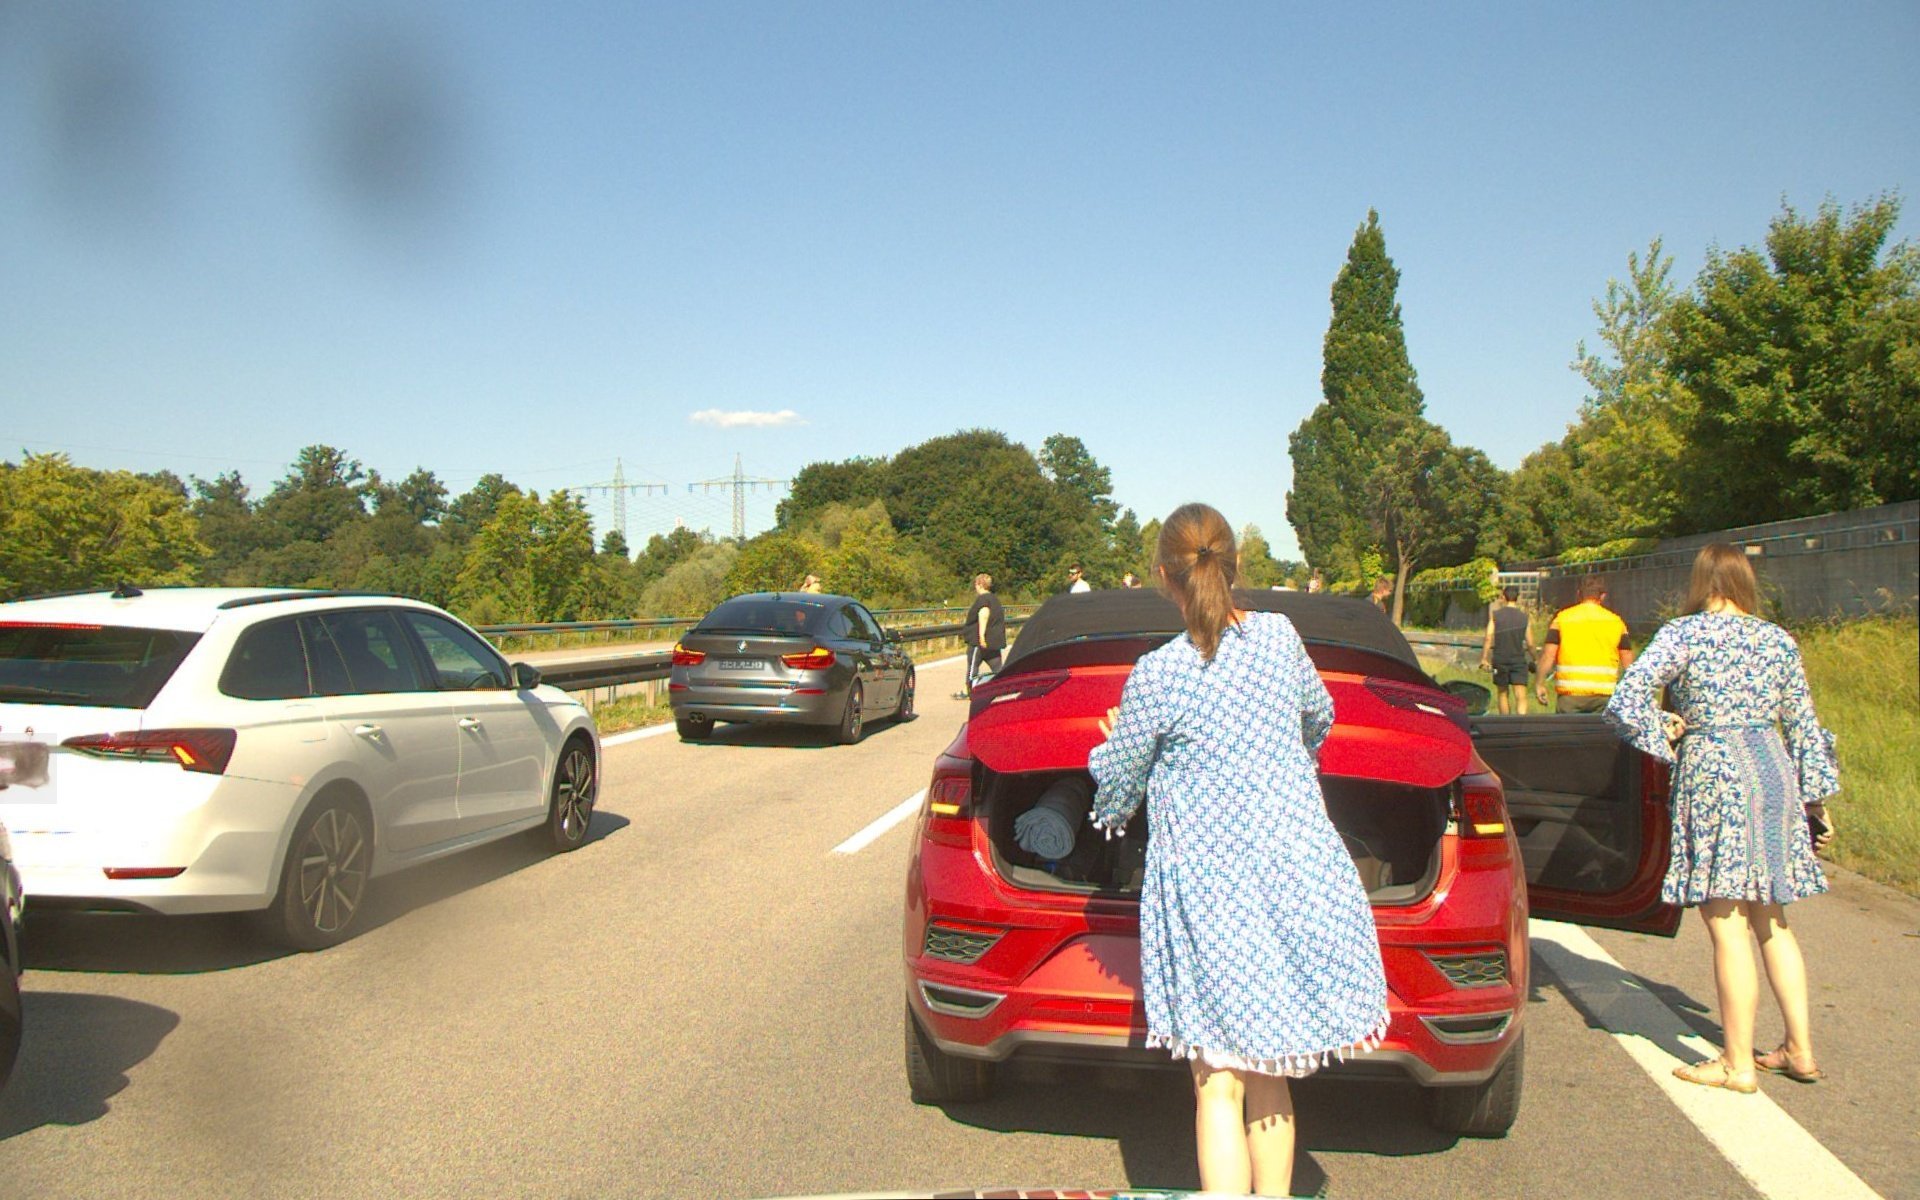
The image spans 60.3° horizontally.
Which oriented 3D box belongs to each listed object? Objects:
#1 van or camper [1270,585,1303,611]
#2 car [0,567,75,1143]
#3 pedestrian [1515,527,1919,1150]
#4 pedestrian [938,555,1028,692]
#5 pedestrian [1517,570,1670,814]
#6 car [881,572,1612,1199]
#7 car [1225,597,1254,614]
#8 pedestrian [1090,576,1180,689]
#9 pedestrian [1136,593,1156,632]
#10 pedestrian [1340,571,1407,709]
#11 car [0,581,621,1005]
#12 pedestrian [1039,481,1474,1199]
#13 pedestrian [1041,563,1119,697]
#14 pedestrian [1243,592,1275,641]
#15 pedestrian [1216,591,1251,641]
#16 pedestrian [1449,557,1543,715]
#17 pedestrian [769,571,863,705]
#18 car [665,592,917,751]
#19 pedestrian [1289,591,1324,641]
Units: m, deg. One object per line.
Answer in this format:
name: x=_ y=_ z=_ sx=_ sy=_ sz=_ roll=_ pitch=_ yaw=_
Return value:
van or camper: x=30.708 y=-0.150 z=155.421 sx=1.954 sy=2.356 sz=4.466 roll=1 pitch=0 yaw=26
car: x=-3.392 y=0.678 z=2.475 sx=1.751 sy=1.519 sz=4.492 roll=0 pitch=0 yaw=-1
pedestrian: x=2.437 y=0.656 z=5.212 sx=0.873 sy=1.725 sz=1.126 roll=0 pitch=0 yaw=-9
pedestrian: x=0.339 y=0.324 z=23.737 sx=1.043 sy=1.916 sz=1.094 roll=0 pitch=0 yaw=16
pedestrian: x=4.628 y=0.636 z=12.168 sx=0.937 sy=1.682 sz=1.279 roll=-1 pitch=0 yaw=17
car: x=0.959 y=0.698 z=6.034 sx=1.695 sy=1.513 sz=4.214 roll=1 pitch=0 yaw=8
car: x=26.635 y=0.505 z=157.723 sx=1.698 sy=1.513 sz=4.207 roll=1 pitch=0 yaw=25
pedestrian: x=2.876 y=0.527 z=27.257 sx=1.072 sy=1.820 sz=1.101 roll=1 pitch=0 yaw=-21
pedestrian: x=8.295 y=0.551 z=73.778 sx=0.774 sy=1.719 sz=0.793 roll=1 pitch=0 yaw=13
pedestrian: x=5.501 y=0.520 z=22.001 sx=0.794 sy=1.790 sz=0.828 roll=1 pitch=0 yaw=17
car: x=-3.173 y=0.664 z=7.994 sx=1.658 sy=1.466 sz=4.214 roll=1 pitch=0 yaw=8
pedestrian: x=0.620 y=0.630 z=3.565 sx=0.821 sy=1.712 sz=0.744 roll=0 pitch=0 yaw=8
pedestrian: x=1.790 y=0.441 z=24.821 sx=1.083 sy=1.946 sz=1.257 roll=0 pitch=0 yaw=1
pedestrian: x=10.635 y=0.575 z=58.807 sx=1.033 sy=1.719 sz=1.018 roll=1 pitch=0 yaw=15
pedestrian: x=9.589 y=0.550 z=58.021 sx=1.090 sy=1.719 sz=0.974 roll=1 pitch=0 yaw=16
pedestrian: x=6.130 y=0.401 z=18.948 sx=0.875 sy=1.755 sz=0.755 roll=1 pitch=0 yaw=8
pedestrian: x=-1.979 y=0.513 z=22.856 sx=1.018 sy=1.794 sz=1.119 roll=-1 pitch=0 yaw=11
car: x=-1.649 y=0.656 z=17.678 sx=1.658 sy=1.451 sz=4.337 roll=1 pitch=0 yaw=8
pedestrian: x=12.331 y=0.561 z=58.817 sx=0.976 sy=1.719 sz=1.009 roll=1 pitch=0 yaw=26
